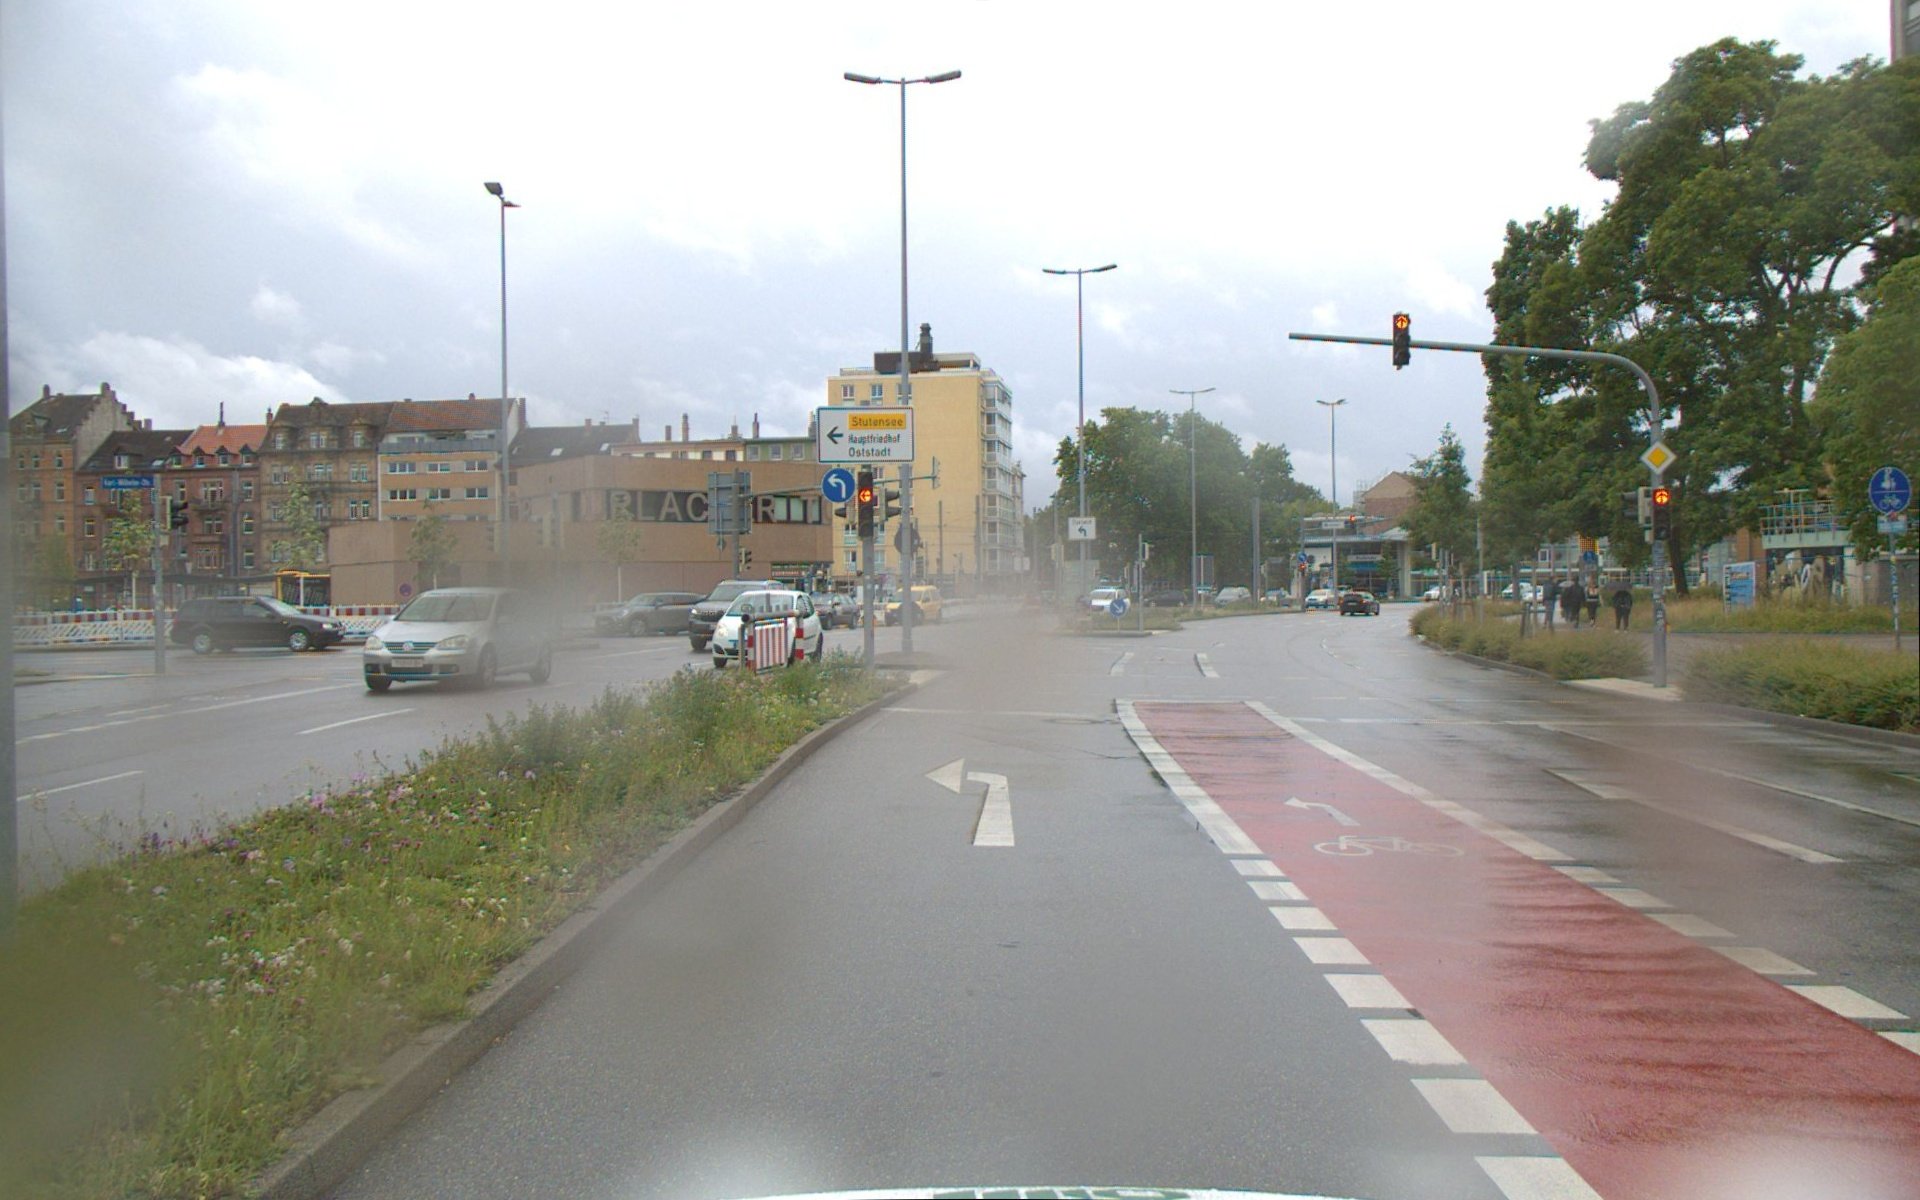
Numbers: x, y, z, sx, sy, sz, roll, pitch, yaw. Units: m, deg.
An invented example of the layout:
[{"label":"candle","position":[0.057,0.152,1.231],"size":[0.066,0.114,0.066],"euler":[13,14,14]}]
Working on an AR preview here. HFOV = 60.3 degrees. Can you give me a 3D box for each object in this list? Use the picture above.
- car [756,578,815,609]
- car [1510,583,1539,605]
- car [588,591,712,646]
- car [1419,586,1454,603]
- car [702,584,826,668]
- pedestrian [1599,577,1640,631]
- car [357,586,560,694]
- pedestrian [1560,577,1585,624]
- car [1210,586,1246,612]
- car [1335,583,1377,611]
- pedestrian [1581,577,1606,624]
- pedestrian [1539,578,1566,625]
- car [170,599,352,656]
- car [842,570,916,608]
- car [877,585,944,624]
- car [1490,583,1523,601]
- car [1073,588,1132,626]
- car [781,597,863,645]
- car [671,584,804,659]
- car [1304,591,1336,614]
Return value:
[{"label":"car","position":[-16.828,-0.642,159.317],"size":[5.237,2.938,2.341],"euler":[-1,0,6]},{"label":"car","position":[44.369,-0.509,130.007],"size":[1.754,1.672,4.157],"euler":[-1,0,25]},{"label":"car","position":[-10.262,0.587,54.886],"size":[1.681,1.735,3.796],"euler":[0,0,43]},{"label":"car","position":[49.559,-0.555,172.107],"size":[1.764,1.672,4.369],"euler":[0,0,42]},{"label":"car","position":[-3.837,0.479,33.009],"size":[1.643,1.527,3.871],"euler":[-2,0,5]},{"label":"pedestrian","position":[19.918,0.127,49.959],"size":[1.000,1.616,0.937],"euler":[-1,0,13]},{"label":"car","position":[-7.392,0.532,24.810],"size":[1.644,1.429,4.159],"euler":[-2,0,2]},{"label":"pedestrian","position":[21.448,0.021,57.905],"size":[0.688,1.616,0.937],"euler":[-1,0,13]},{"label":"car","position":[20.226,-0.084,124.503],"size":[1.660,1.720,4.183],"euler":[-1,2,24]},{"label":"car","position":[24.355,-0.199,101.677],"size":[1.754,1.672,4.157],"euler":[-1,0,25]},{"label":"pedestrian","position":[22.203,0.007,57.949],"size":[0.688,1.616,0.937],"euler":[-1,0,13]},{"label":"pedestrian","position":[20.518,0.045,57.279],"size":[0.737,1.616,0.937],"euler":[-1,0,13]},{"label":"car","position":[-18.489,0.708,43.878],"size":[4.108,1.427,1.617],"euler":[-1,0,-3]},{"label":"car","position":[-7.705,-1.076,158.149],"size":[6.598,3.439,2.811],"euler":[-1,0,6]},{"label":"car","position":[-2.250,0.179,76.269],"size":[1.670,1.735,4.153],"euler":[-1,0,20]},{"label":"car","position":[58.395,-0.835,176.737],"size":[1.766,1.890,4.130],"euler":[0,0,44]},{"label":"car","position":[7.276,0.329,84.058],"size":[1.788,1.711,5.168],"euler":[-3,0,18]},{"label":"car","position":[-5.334,0.792,64.370],"size":[1.669,1.735,4.463],"euler":[-1,0,16]},{"label":"car","position":[-5.482,0.492,41.387],"size":[1.951,1.664,4.607],"euler":[-3,0,9]},{"label":"car","position":[28.580,0.197,131.199],"size":[1.660,1.440,4.183],"euler":[-1,3,25]}]
